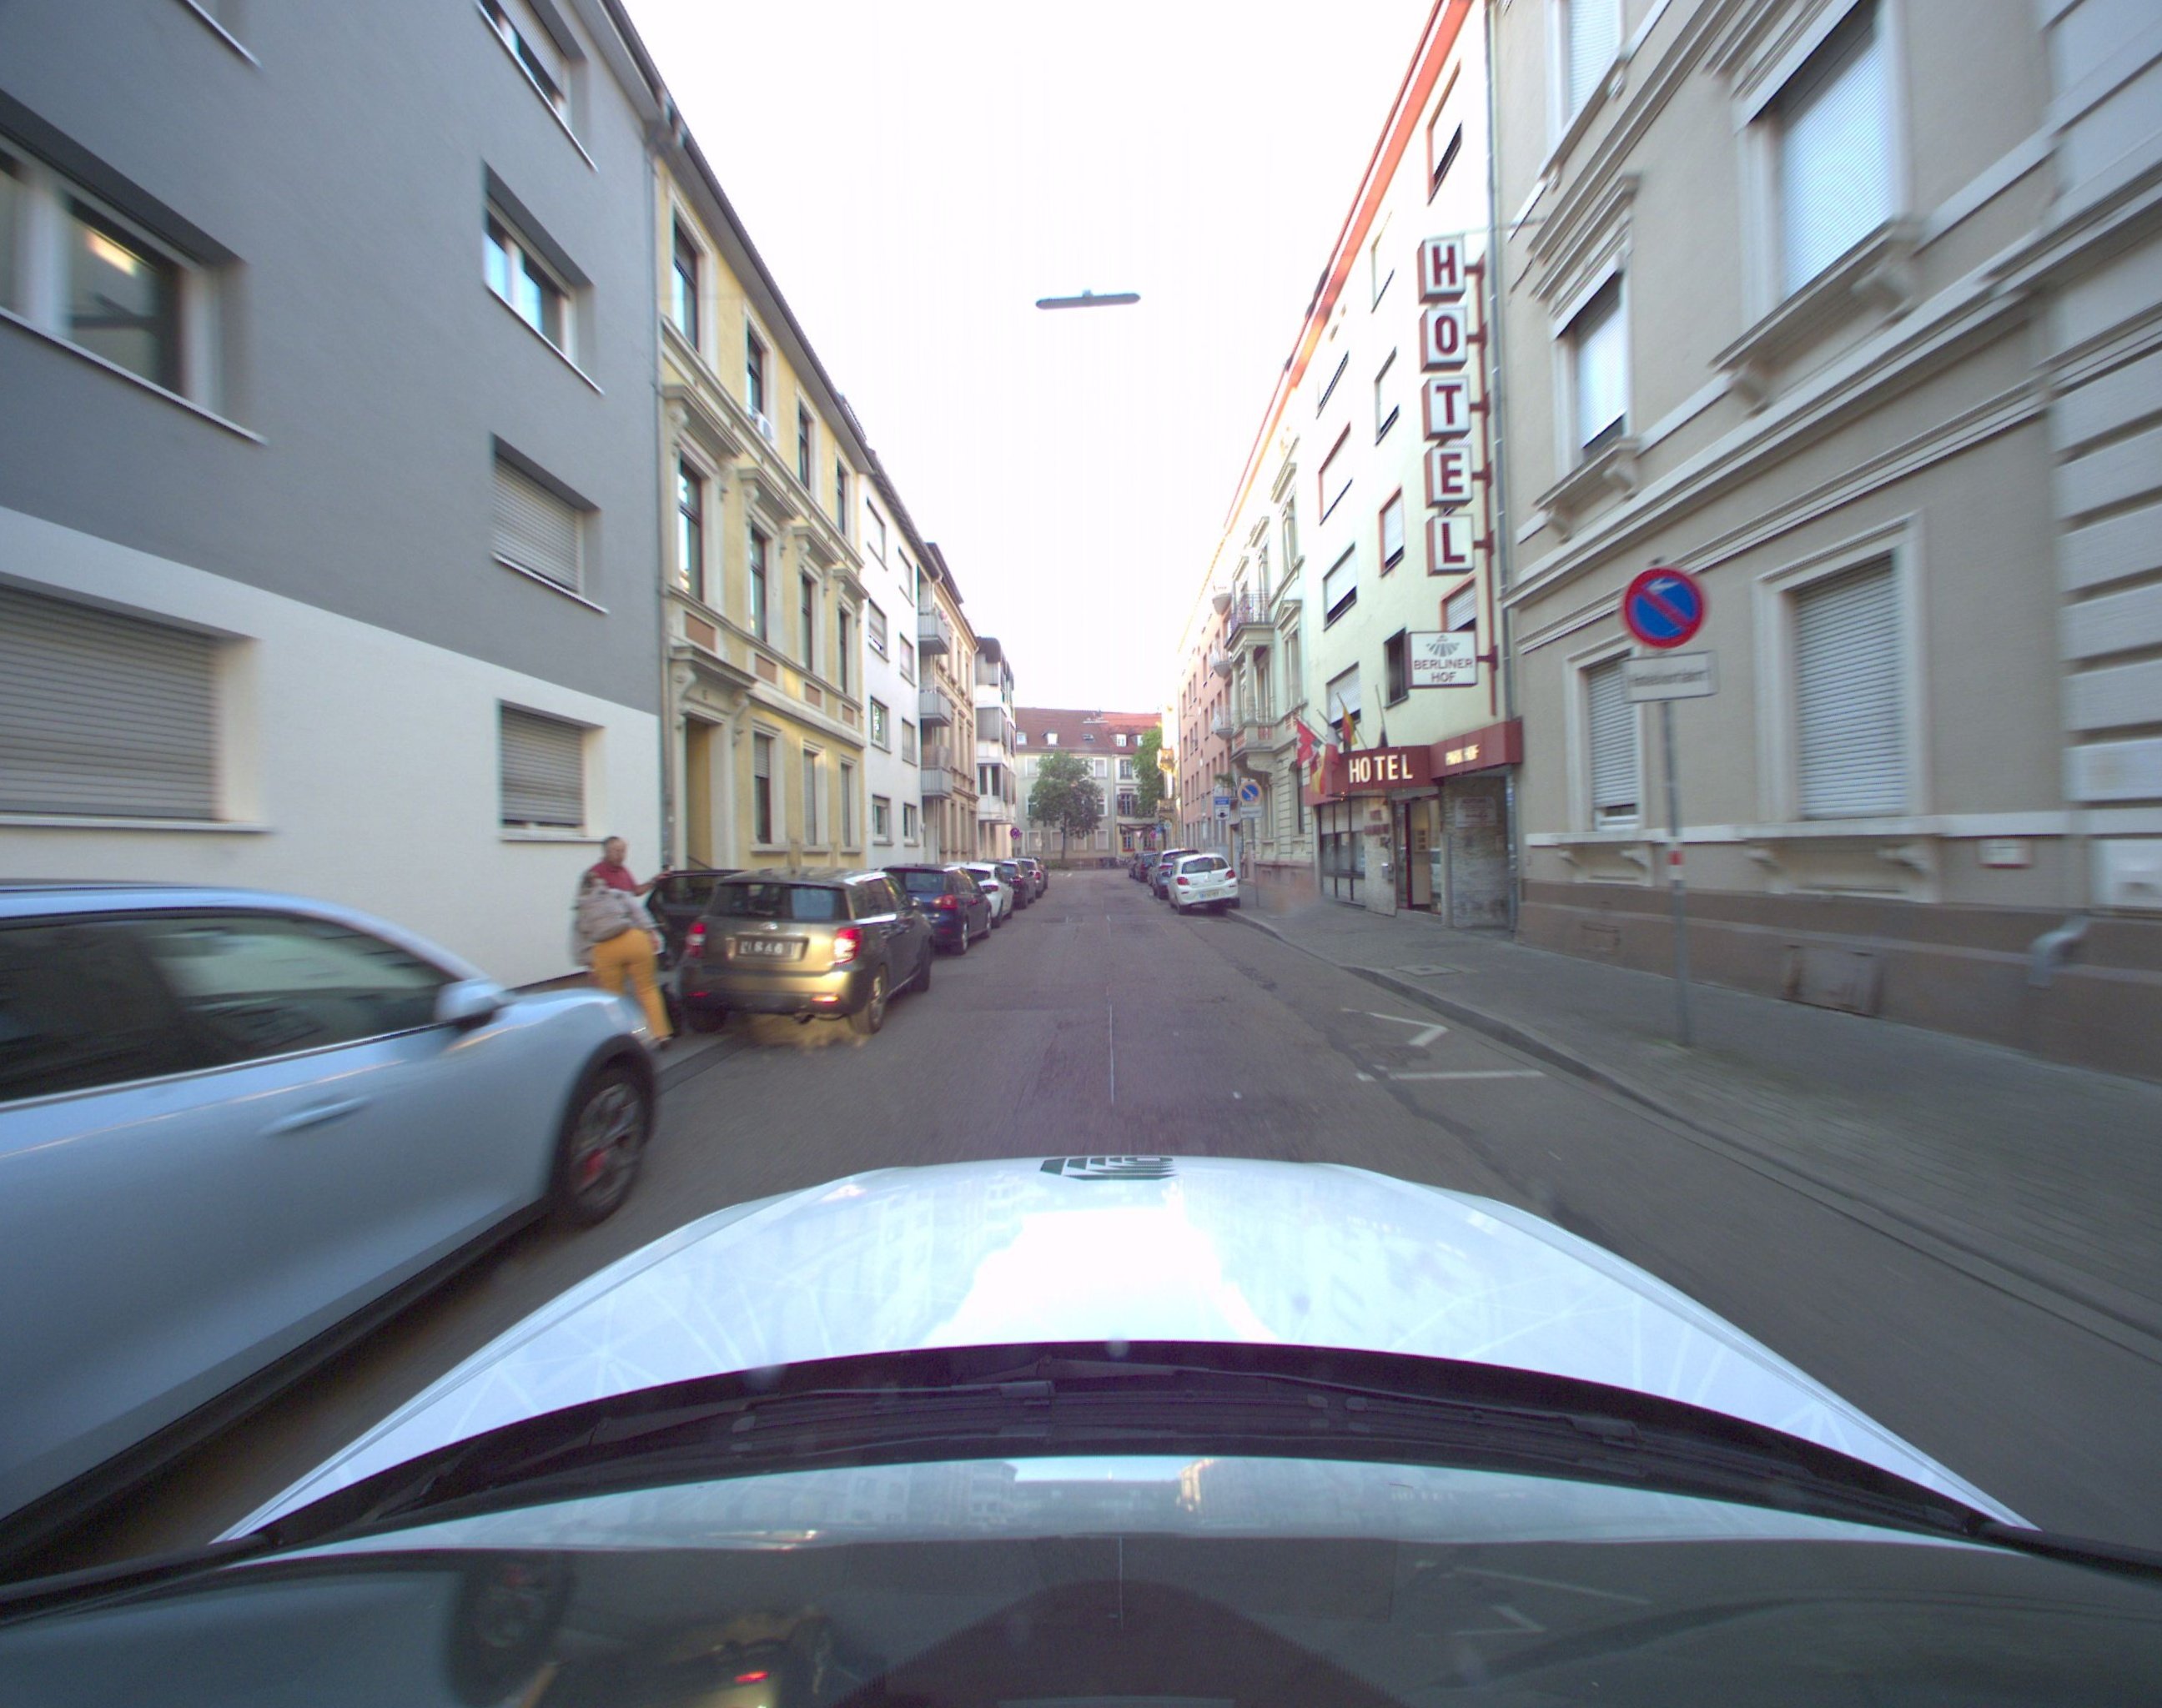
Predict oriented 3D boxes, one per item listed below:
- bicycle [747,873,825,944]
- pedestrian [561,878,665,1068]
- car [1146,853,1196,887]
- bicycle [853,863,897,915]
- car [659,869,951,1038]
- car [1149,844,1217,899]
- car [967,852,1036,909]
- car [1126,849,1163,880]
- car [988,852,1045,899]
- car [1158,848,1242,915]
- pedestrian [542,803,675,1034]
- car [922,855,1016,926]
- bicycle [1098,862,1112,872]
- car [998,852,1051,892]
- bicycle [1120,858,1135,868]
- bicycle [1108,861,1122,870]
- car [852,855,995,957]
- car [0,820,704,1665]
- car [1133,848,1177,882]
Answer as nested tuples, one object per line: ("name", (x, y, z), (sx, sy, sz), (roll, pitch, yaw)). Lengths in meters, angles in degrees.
("bicycle", (-5.298, 0.944, 14.775), (0.532, 1.118, 2.131), (-2, 0, 2))
("pedestrian", (-3.781, 0.914, 6.631), (0.663, 1.410, 0.666), (-2, 0, -27))
("car", (4.049, 0.683, 37.173), (1.986, 1.384, 3.708), (-2, 0, 2))
("bicycle", (-5.225, 0.869, 20.789), (0.521, 1.200, 2.123), (-3, 0, 0))
("car", (-2.638, 0.874, 8.883), (1.678, 1.332, 4.132), (-2, -1, 1))
("car", (3.505, 0.573, 28.736), (1.986, 1.732, 4.061), (-2, 0, 2))
("car", (-2.419, 0.760, 25.796), (1.609, 1.570, 4.304), (-2, 0, 1))
("car", (3.804, 0.603, 49.492), (1.986, 1.761, 4.002), (-2, 0, 2))
("car", (-2.435, 0.782, 31.881), (1.988, 1.666, 4.405), (-2, 0, -2))
("car", (3.146, 0.676, 22.271), (1.656, 1.458, 3.760), (-8, 0, 1))
("pedestrian", (-4.370, 0.563, 7.595), (0.797, 2.013, 0.773), (-2, 0, -9))
("car", (-2.609, 0.799, 19.747), (1.624, 1.472, 3.755), (-2, 0, 1))
("bicycle", (2.424, 1.337, 81.353), (0.521, 0.949, 1.707), (-1, -1, -32))
("car", (-2.566, 0.797, 37.850), (1.986, 1.662, 3.979), (-2, 0, 2))
("bicycle", (4.582, 0.867, 80.480), (0.521, 0.949, 1.708), (-1, 0, -32))
("bicycle", (3.318, 1.128, 79.889), (0.521, 0.894, 1.708), (-3, 2, -32))
("car", (-2.677, 0.823, 14.721), (1.722, 1.509, 3.831), (-2, 0, 1))
("car", (-2.957, 0.732, 2.449), (1.759, 1.563, 4.361), (-2, 1, -3))
("car", (3.956, 0.561, 44.312), (1.987, 1.708, 3.999), (-2, 0, 0))
